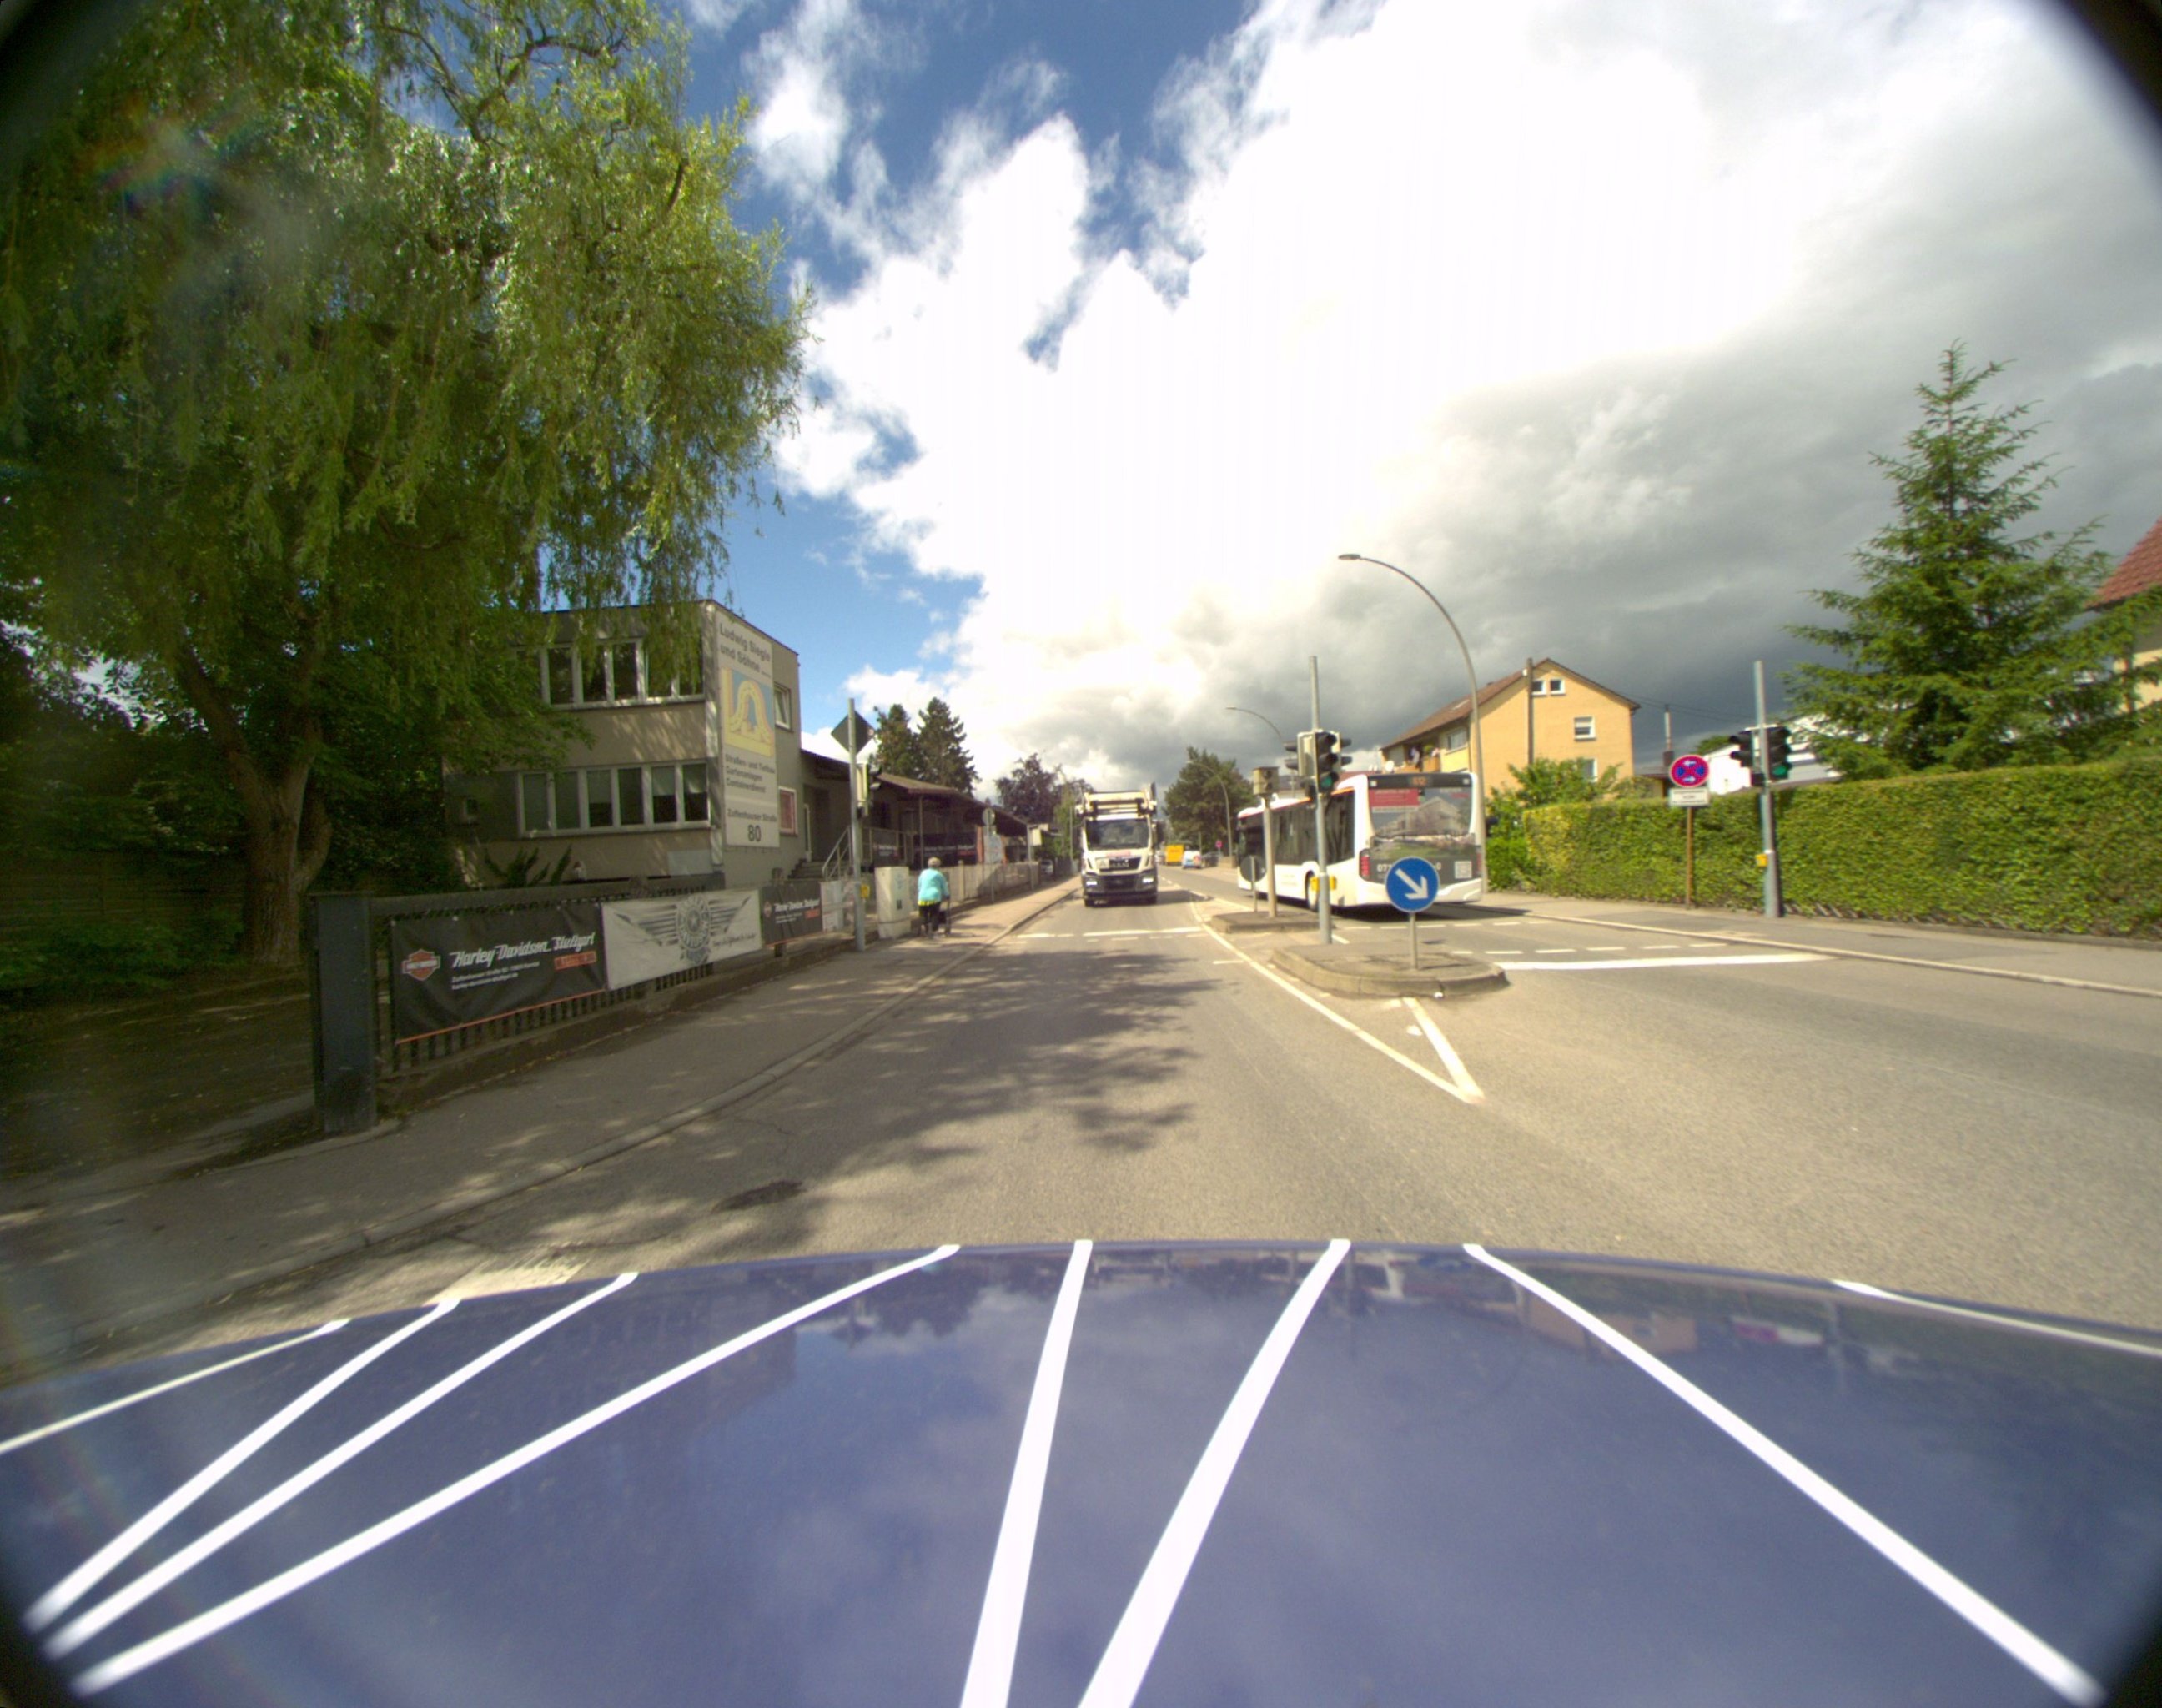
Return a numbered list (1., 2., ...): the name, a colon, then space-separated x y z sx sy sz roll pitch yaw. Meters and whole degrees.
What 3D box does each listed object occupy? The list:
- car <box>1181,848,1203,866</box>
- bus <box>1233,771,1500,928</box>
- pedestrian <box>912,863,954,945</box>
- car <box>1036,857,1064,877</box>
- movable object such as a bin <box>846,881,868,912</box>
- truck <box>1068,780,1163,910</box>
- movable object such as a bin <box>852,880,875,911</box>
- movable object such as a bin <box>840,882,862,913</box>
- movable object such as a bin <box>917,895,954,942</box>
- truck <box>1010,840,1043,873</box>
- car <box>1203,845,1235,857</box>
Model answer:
1. car: 11.373 0.298 77.805 1.729 1.670 4.000 -3 0 2
2. bus: 6.862 -0.116 21.149 2.726 3.013 12.264 -2 0 0
3. pedestrian: -2.875 0.954 14.827 0.734 1.534 0.840 -1 0 -8
4. car: -2.735 1.131 68.034 1.862 1.521 5.204 -3 0 5
5. movable object such as a bin: -7.061 1.336 23.951 0.482 0.925 0.474 -3 1 3
6. truck: 1.447 -0.308 27.921 2.664 3.789 9.818 -3 0 5
7. movable object such as a bin: -7.028 1.332 24.538 0.482 0.925 0.584 -3 1 3
8. movable object such as a bin: -7.092 1.339 23.424 0.482 0.925 0.474 -3 1 3
9. movable object such as a bin: -2.940 1.294 15.411 0.670 0.866 0.748 -1 0 -8
10. truck: -5.021 0.211 70.597 2.090 2.812 5.204 -3 0 5
11. car: 22.097 -0.522 121.855 4.733 1.669 2.219 -3 0 3
